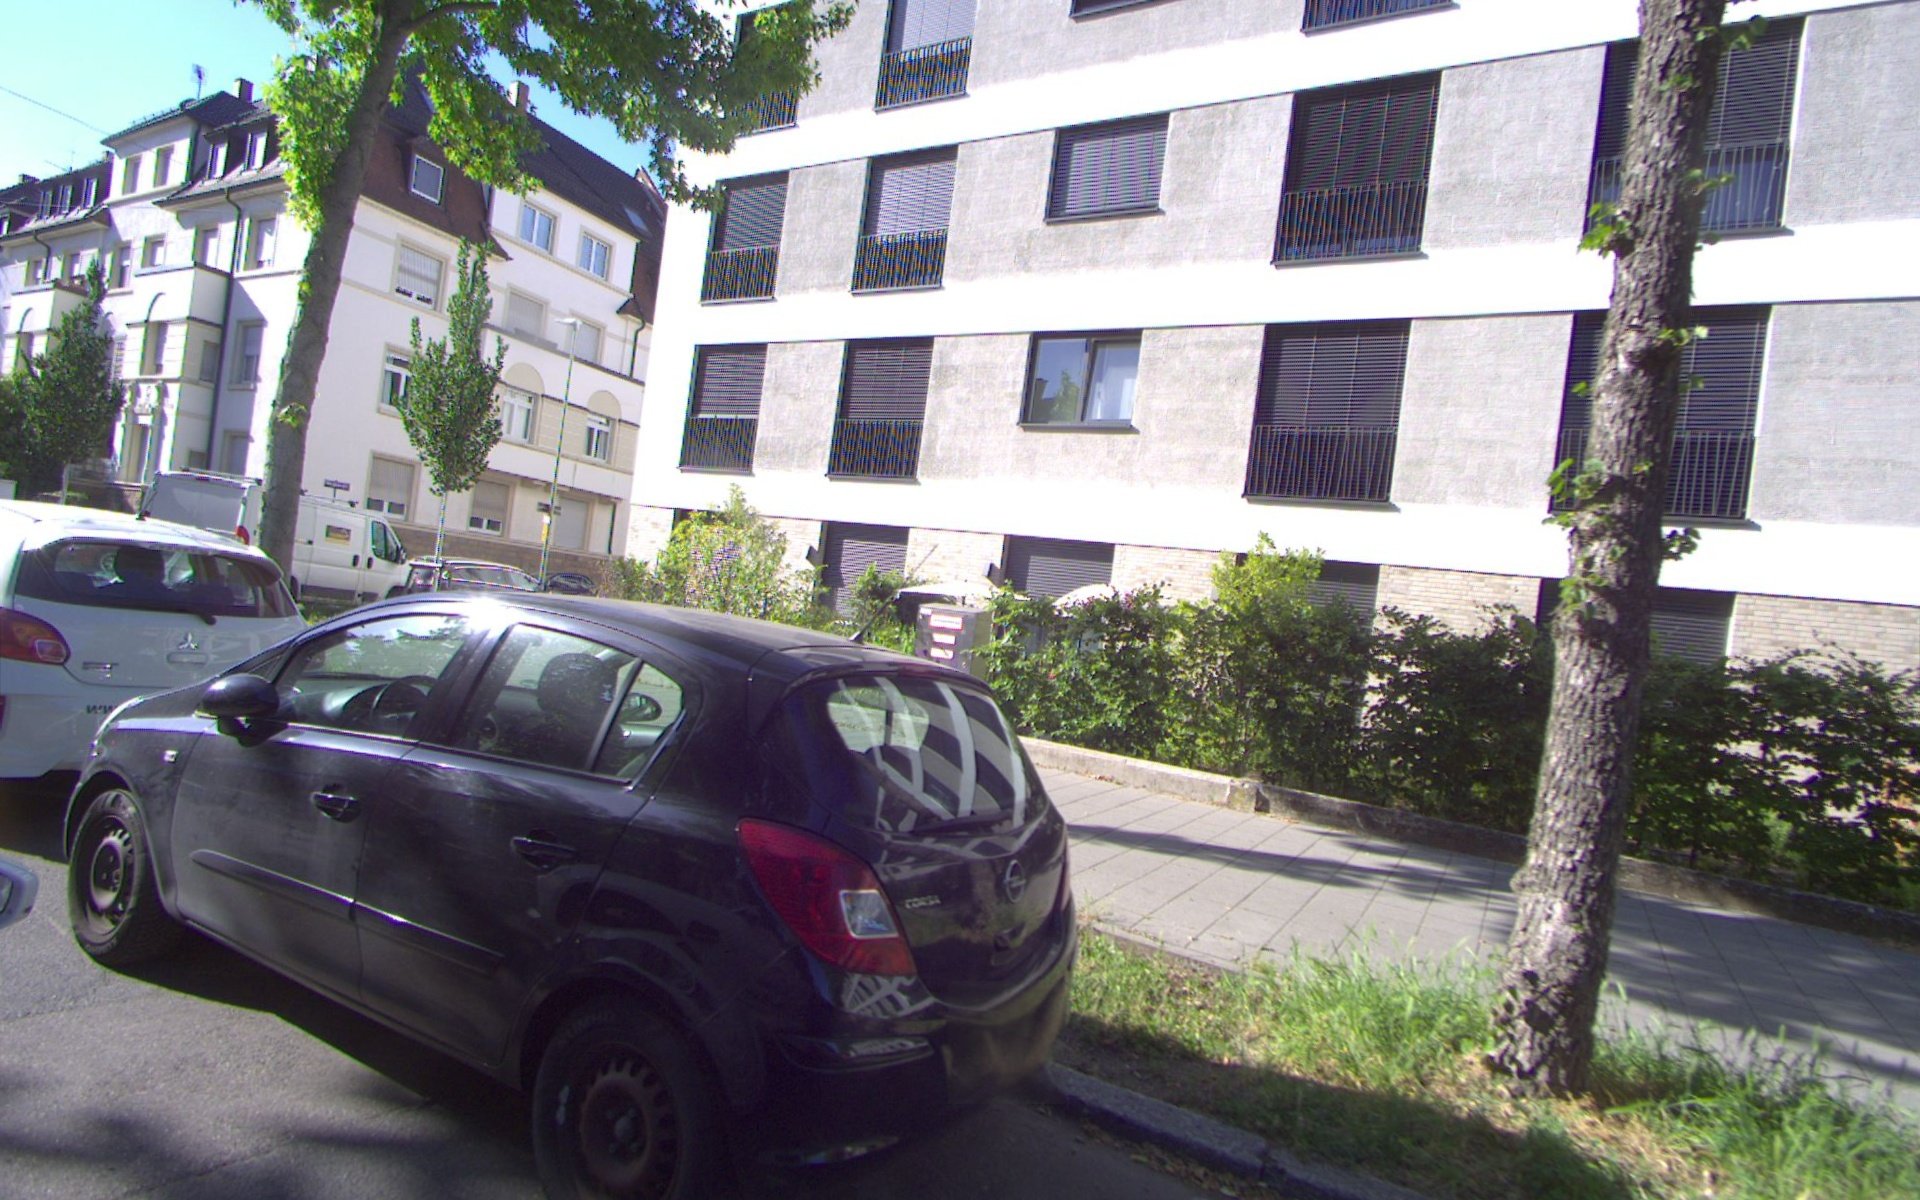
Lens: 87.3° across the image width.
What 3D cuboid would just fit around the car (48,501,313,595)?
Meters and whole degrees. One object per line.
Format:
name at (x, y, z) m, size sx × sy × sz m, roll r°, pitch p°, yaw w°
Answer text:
car at (-18.463, -1.189, 24.004) m, size 1.928 × 1.487 × 4.709 m, roll 6°, pitch -2°, yaw 44°

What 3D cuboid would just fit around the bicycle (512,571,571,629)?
bicycle at (-9.436, 0.021, 22.755) m, size 0.651 × 1.187 × 1.990 m, roll 8°, pitch -2°, yaw -9°

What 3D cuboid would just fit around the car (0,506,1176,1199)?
car at (-1.552, 0.680, 3.607) m, size 4.107 × 1.466 × 1.675 m, roll 7°, pitch -3°, yaw 29°

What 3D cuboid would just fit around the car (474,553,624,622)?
car at (-13.208, -0.352, 32.570) m, size 1.803 × 1.660 × 4.180 m, roll 7°, pitch -1°, yaw 29°

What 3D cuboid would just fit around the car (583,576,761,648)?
car at (-8.277, 0.407, 29.388) m, size 1.928 × 1.446 × 4.939 m, roll 9°, pitch -1°, yaw 29°

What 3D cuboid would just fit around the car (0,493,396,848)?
car at (-5.401, 0.174, 5.870) m, size 3.940 × 1.504 × 1.737 m, roll 7°, pitch -2°, yaw 29°

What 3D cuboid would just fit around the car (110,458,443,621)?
car at (-12.488, -0.954, 18.965) m, size 2.192 × 2.333 × 5.061 m, roll 7°, pitch -1°, yaw 7°

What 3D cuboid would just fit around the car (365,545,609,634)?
car at (-11.090, -0.169, 24.008) m, size 2.012 × 1.487 × 4.939 m, roll 7°, pitch -1°, yaw 28°
